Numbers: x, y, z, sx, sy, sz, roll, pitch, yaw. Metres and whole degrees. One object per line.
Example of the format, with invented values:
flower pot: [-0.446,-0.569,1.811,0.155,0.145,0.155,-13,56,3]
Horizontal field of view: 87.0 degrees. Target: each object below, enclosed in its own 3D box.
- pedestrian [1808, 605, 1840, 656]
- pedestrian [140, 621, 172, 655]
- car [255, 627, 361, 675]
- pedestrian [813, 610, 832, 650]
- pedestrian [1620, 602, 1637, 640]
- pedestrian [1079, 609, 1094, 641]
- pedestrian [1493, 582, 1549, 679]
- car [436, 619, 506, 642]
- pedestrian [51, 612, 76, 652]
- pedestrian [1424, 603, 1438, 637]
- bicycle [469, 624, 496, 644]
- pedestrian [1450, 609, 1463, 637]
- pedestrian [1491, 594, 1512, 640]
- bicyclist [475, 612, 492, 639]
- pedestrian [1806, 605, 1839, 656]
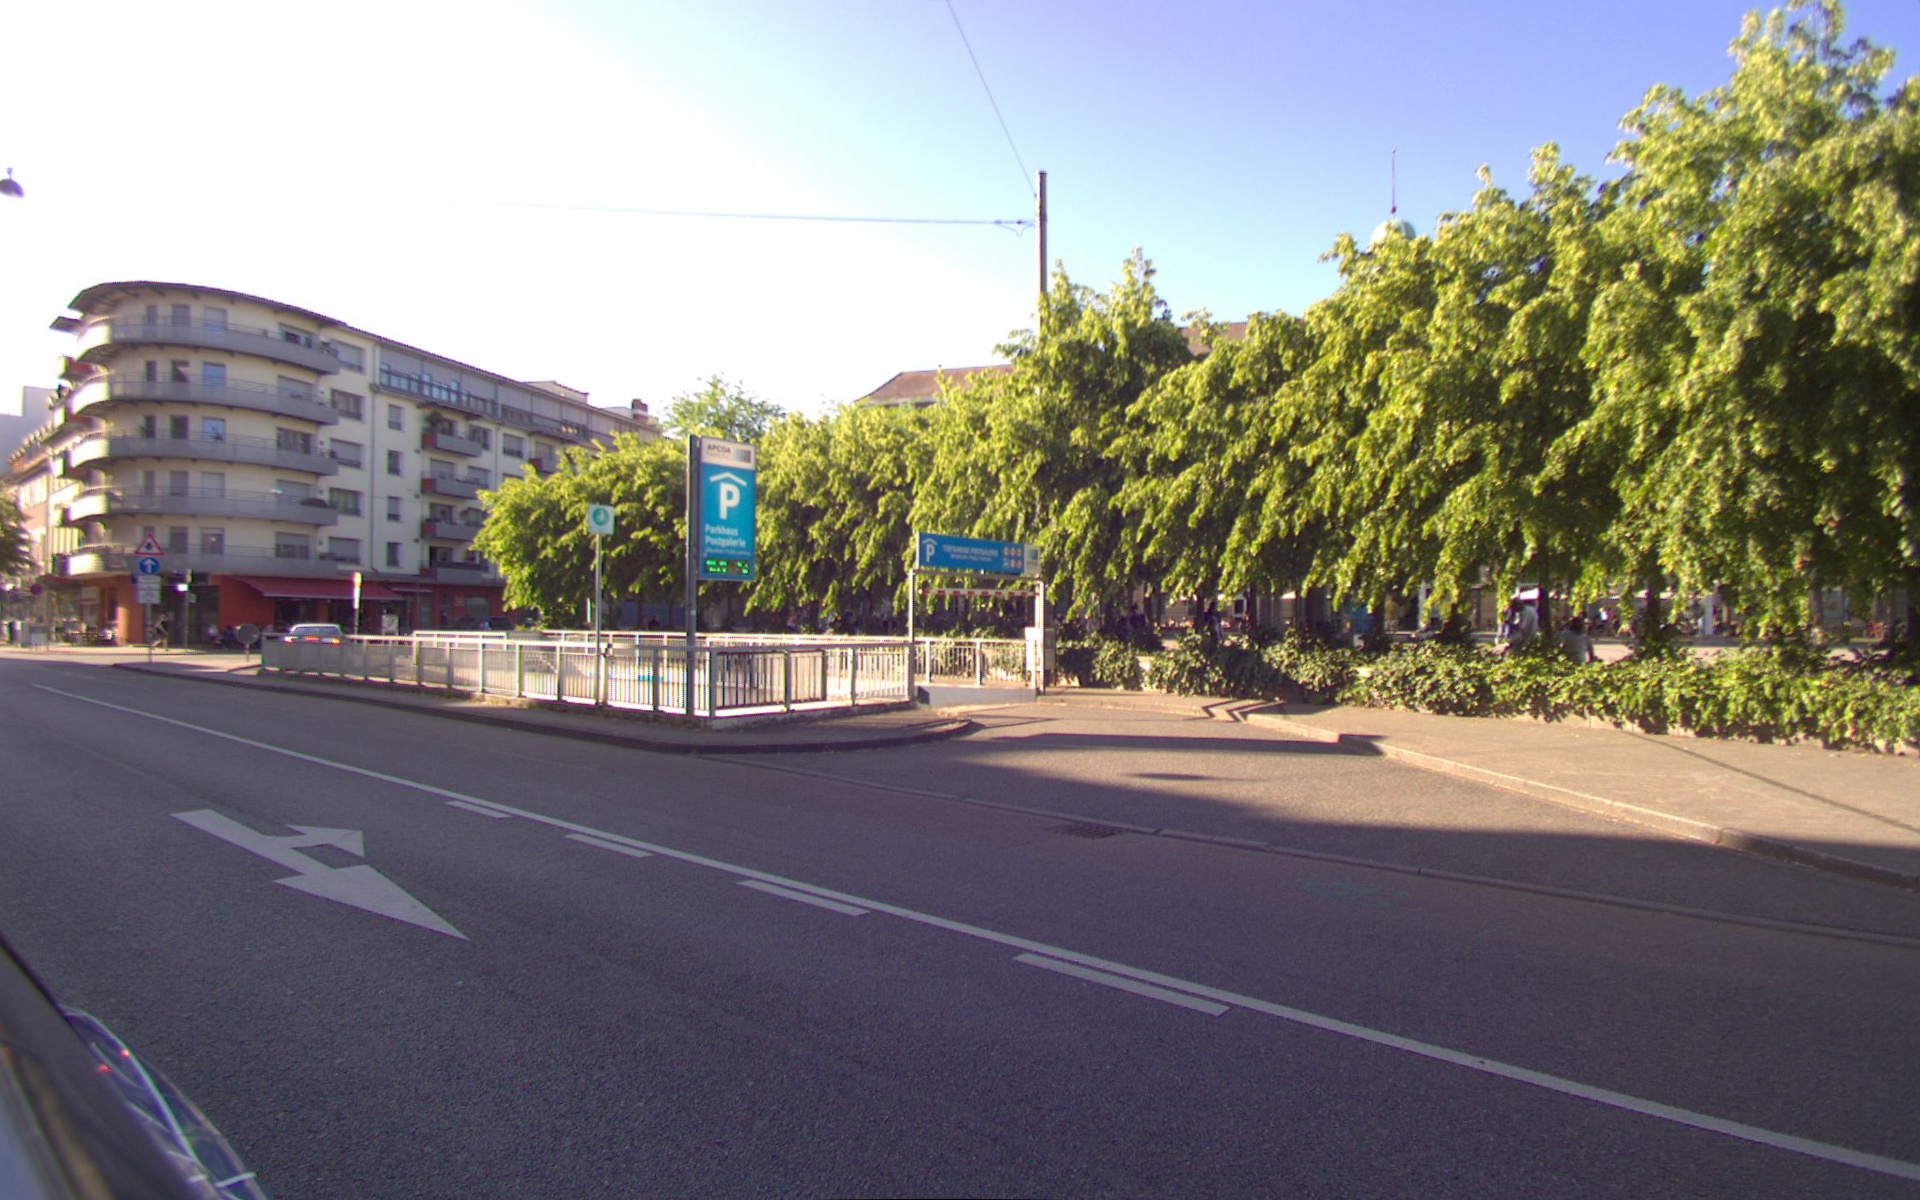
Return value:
pedestrian: [30.058,1.057,35.213,0.641,1.734,0.605,-1,0,18]
pedestrian: [-38.628,1.821,48.634,0.877,1.607,0.861,-1,0,2]
car: [-20.497,1.567,31.759,4.266,1.363,1.798,0,-3,44]
pedestrian: [-6.181,1.342,45.370,0.604,1.734,0.642,-1,0,21]
pedestrian: [34.853,1.103,52.769,0.676,1.963,0.632,-1,0,38]
pedestrian: [6.842,1.355,54.813,0.606,1.734,0.640,-1,0,31]
pedestrian: [9.845,0.526,17.752,0.645,1.661,0.626,-1,0,-35]
car: [-30.504,1.887,63.211,1.742,1.311,3.977,-1,-1,17]
pedestrian: [-46.715,1.672,52.747,0.888,2.029,0.850,-1,0,40]
pedestrian: [24.395,1.028,52.450,0.643,1.734,0.603,-1,0,26]
bicycle: [-28.679,2.024,60.823,0.523,1.179,1.583,-1,0,19]
pedestrian: [30.889,1.423,62.942,0.642,1.734,0.604,-1,0,20]
pedestrian: [20.586,0.643,38.482,0.643,1.734,0.604,-1,0,22]
bicyclist: [-28.665,1.533,60.866,0.521,1.559,0.793,-1,0,19]
pedestrian: [29.917,1.059,35.113,0.640,1.734,0.606,-1,0,13]
